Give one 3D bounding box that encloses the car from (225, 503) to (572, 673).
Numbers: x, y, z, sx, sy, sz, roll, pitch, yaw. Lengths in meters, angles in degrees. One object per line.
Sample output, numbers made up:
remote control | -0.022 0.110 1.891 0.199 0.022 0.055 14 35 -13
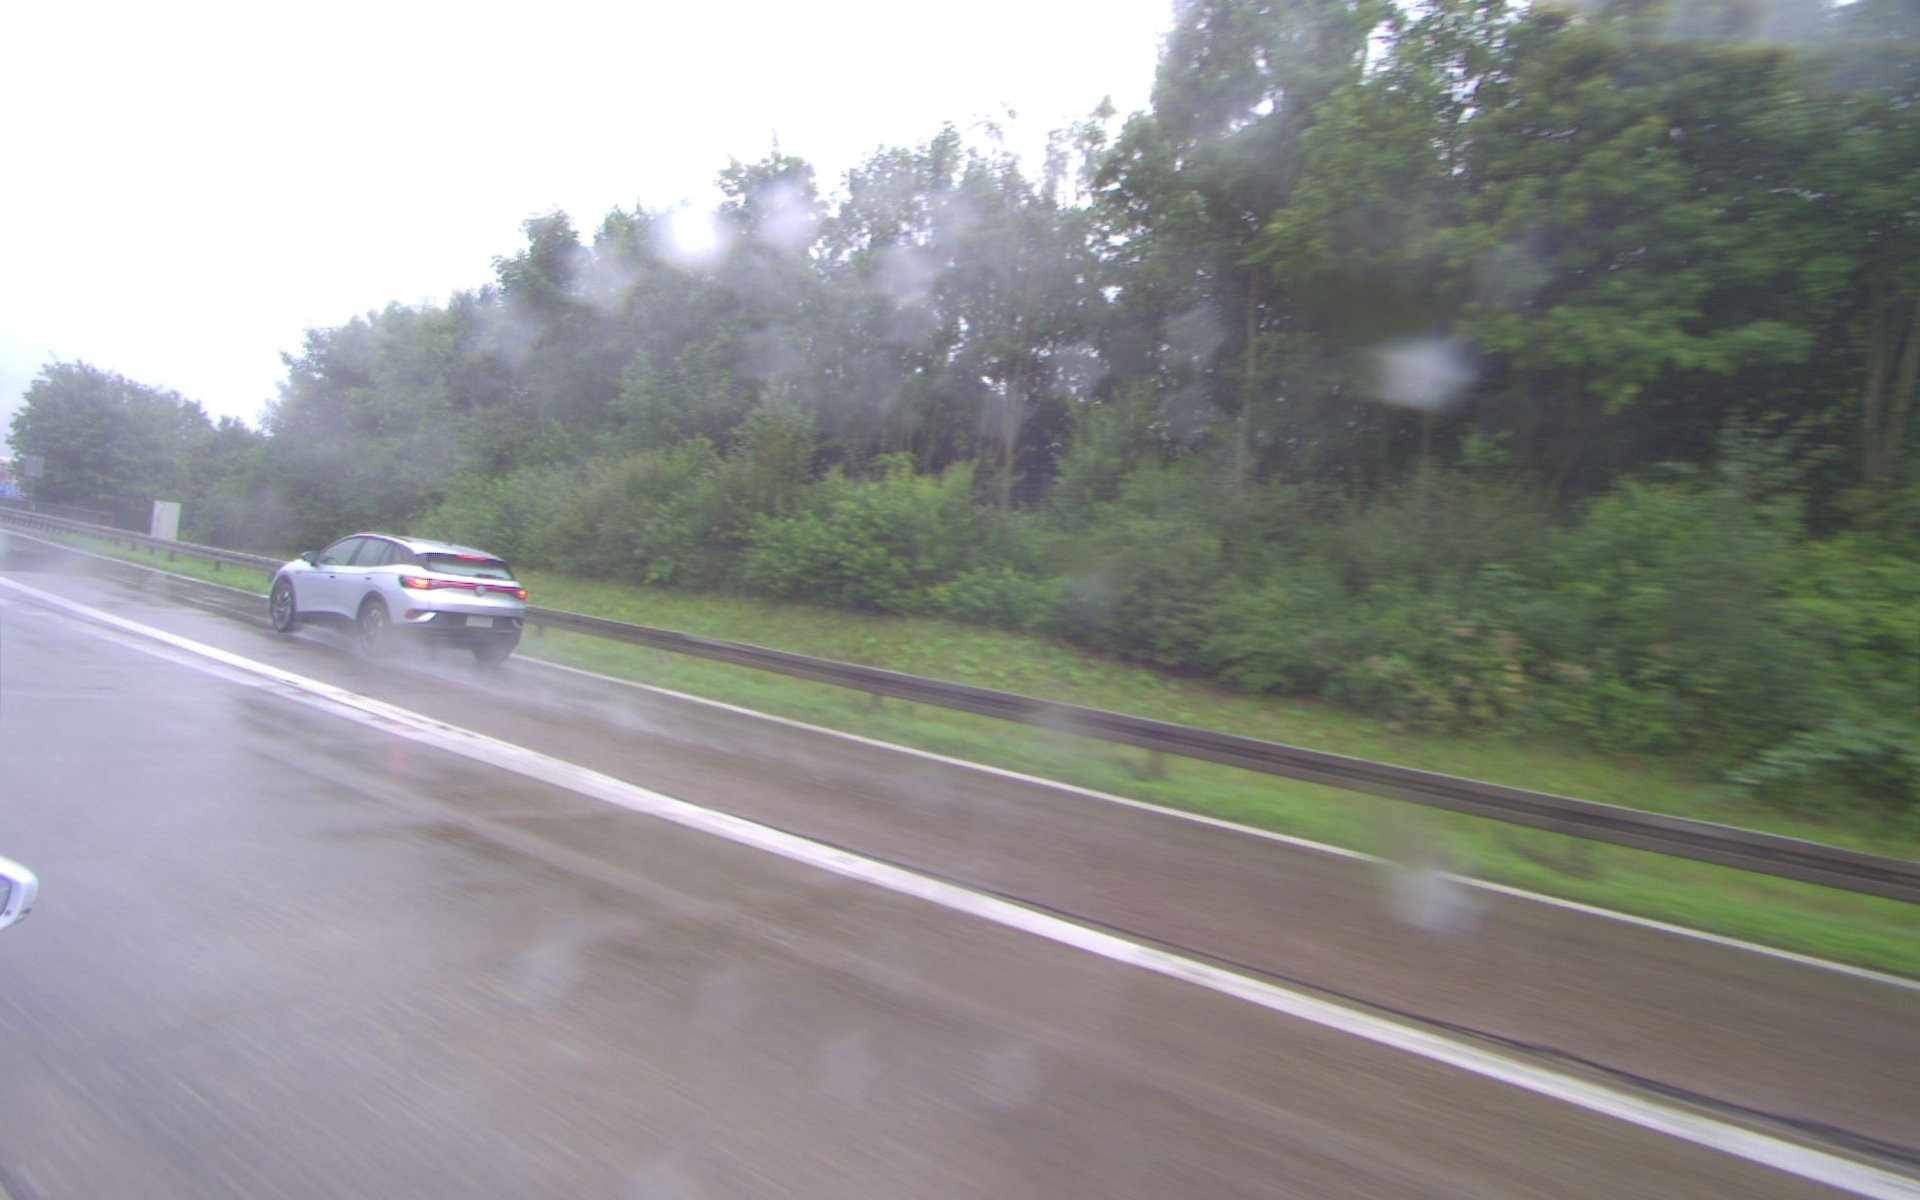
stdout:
car | -8.250 -0.240 14.543 5.573 1.770 1.996 6 -2 35
